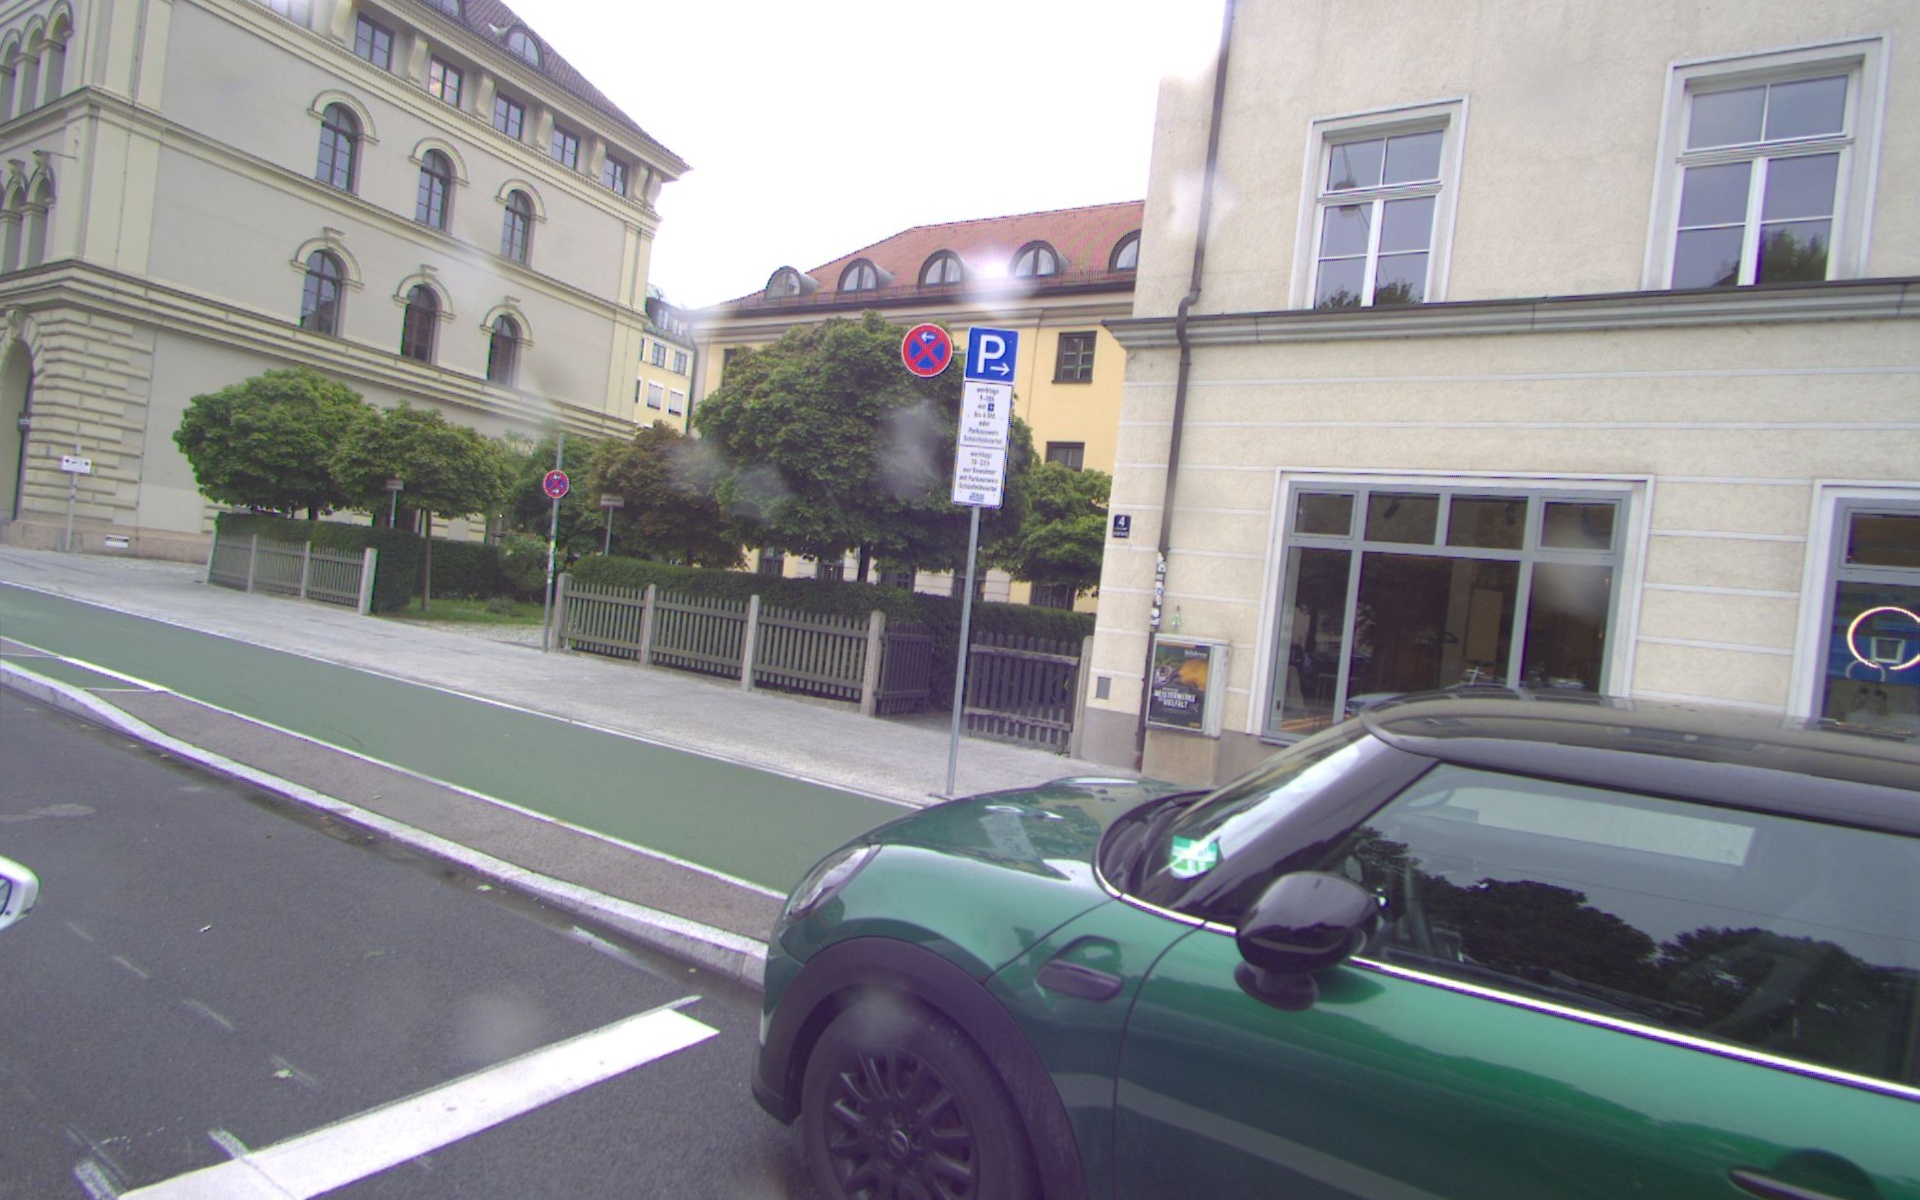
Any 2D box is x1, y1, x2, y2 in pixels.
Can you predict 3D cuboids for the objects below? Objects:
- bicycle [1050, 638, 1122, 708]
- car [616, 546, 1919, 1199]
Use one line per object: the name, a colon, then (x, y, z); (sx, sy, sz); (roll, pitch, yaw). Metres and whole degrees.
bicycle: (2.268, 1.310, 17.925); (0.512, 1.130, 1.830); (7, 0, 30)
car: (1.193, 0.886, 2.377); (3.767, 1.538, 1.678); (7, -1, 33)
